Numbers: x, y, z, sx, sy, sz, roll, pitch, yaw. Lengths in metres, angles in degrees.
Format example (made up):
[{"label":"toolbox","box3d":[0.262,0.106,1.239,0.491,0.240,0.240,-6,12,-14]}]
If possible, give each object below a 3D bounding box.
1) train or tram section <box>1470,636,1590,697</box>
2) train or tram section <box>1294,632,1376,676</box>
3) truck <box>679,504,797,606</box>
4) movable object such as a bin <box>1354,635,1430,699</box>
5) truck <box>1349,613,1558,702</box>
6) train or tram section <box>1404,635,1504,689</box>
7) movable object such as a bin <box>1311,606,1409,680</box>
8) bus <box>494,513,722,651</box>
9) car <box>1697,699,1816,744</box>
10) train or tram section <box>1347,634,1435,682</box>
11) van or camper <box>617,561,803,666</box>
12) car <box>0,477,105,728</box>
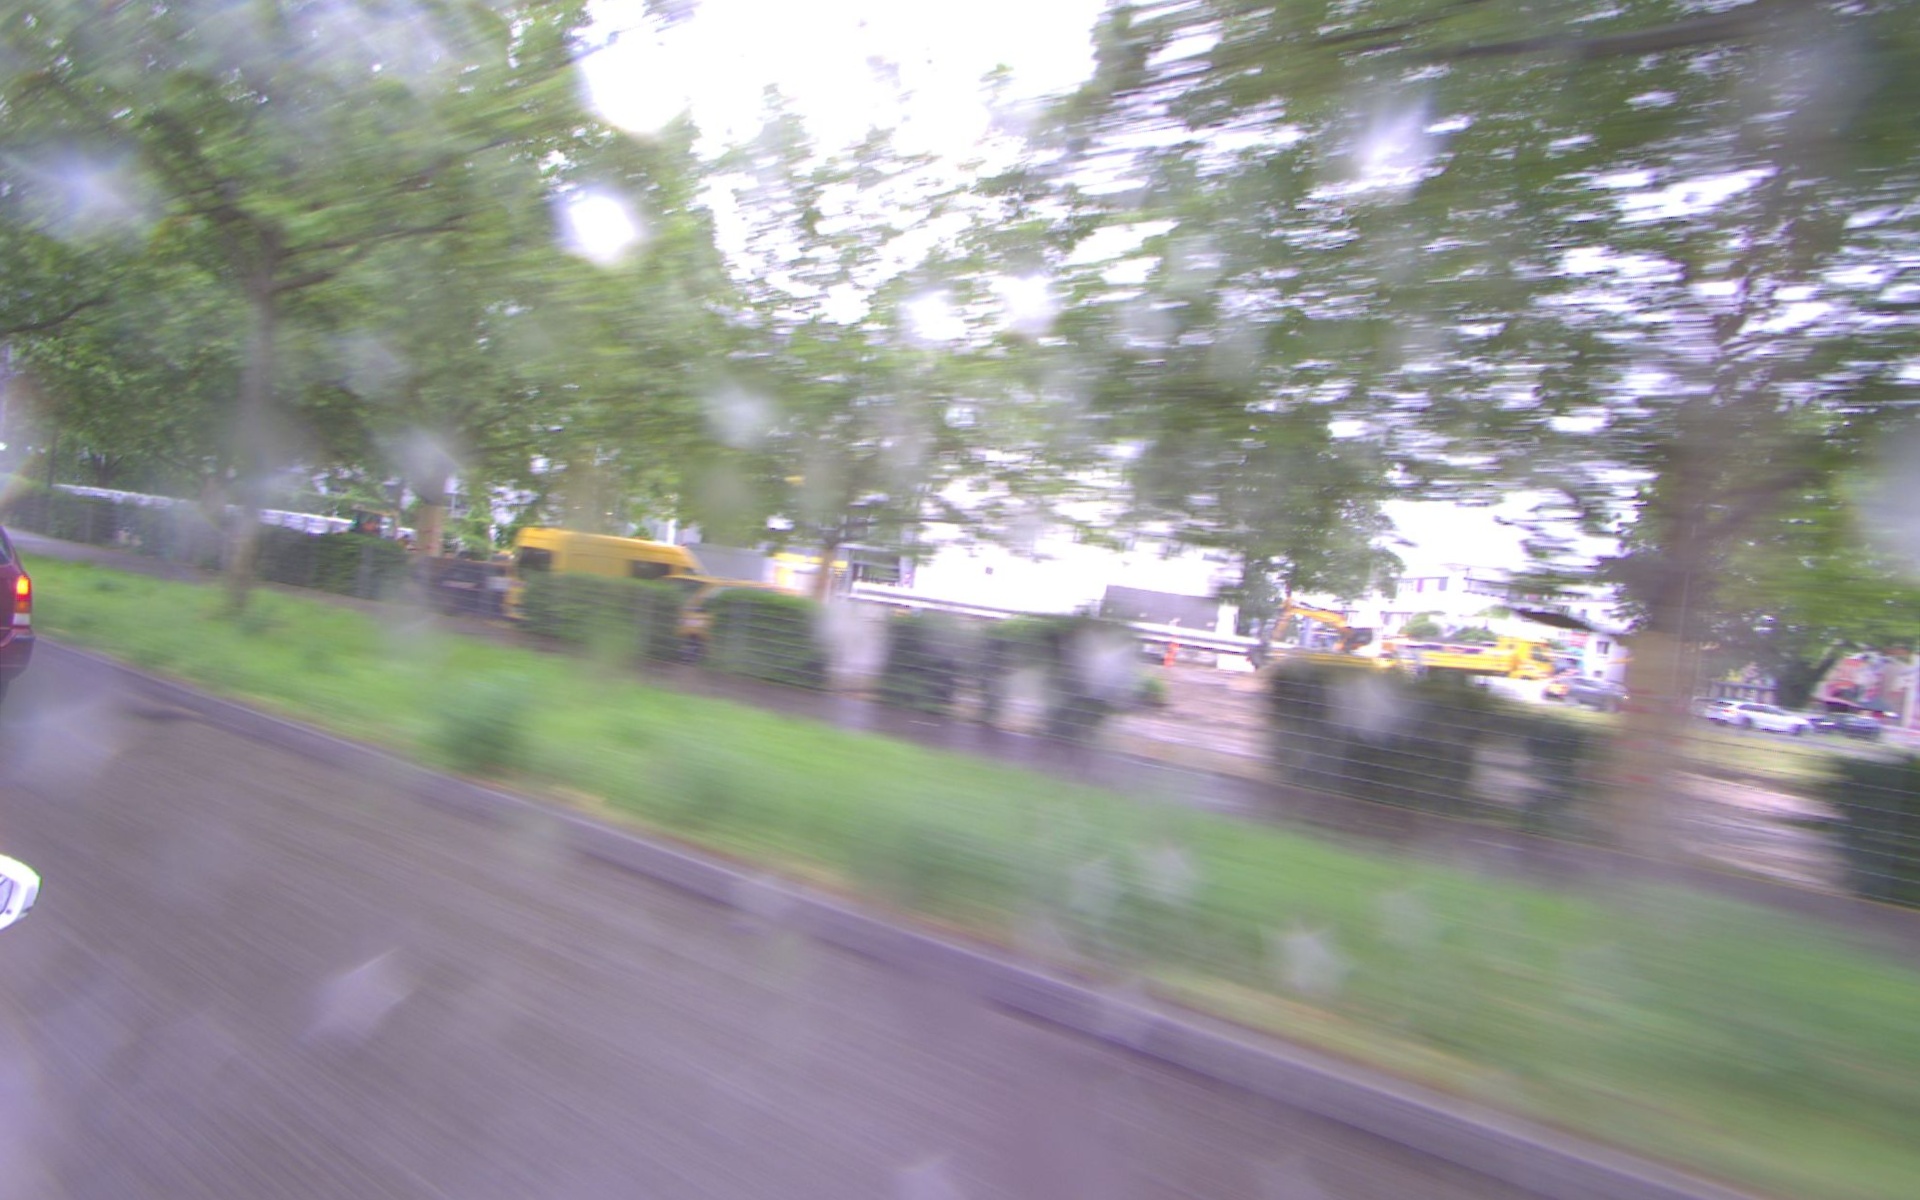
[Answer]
[{"label":"train or tram section","box3d":[38.943,4.455,69.174,2.358,3.560,8.367,7,-2,-7]},{"label":"train or tram section","box3d":[35.660,5.055,96.286,2.358,3.560,10.843,7,-2,-7]},{"label":"truck","box3d":[-8.689,-1.570,40.626,3.026,3.067,9.502,7,-2,-4]},{"label":"movable object such as a bin","box3d":[18.577,2.835,43.455,1.975,2.384,3.284,7,0,8]},{"label":"truck","box3d":[24.913,2.900,50.991,9.300,3.384,2.496,7,-1,-4]},{"label":"train or tram section","box3d":[37.915,4.659,77.592,2.358,3.560,8.527,7,-2,-7]},{"label":"movable object such as a bin","box3d":[22.676,2.415,57.103,3.566,3.670,3.301,7,0,-24]},{"label":"bus","box3d":[-8.385,-0.334,24.427,1.967,2.679,4.800,7,-1,32]},{"label":"car","box3d":[41.873,6.357,52.978,4.538,1.617,1.845,7,0,3]},{"label":"train or tram section","box3d":[36.844,4.870,86.375,2.358,3.560,9.109,7,-2,-7]},{"label":"van or camper","box3d":[-5.610,0.379,23.072,1.770,1.929,3.998,7,-1,27]},{"label":"car","box3d":[-7.905,-0.225,6.857,4.042,1.554,1.843,7,-2,31]}]
